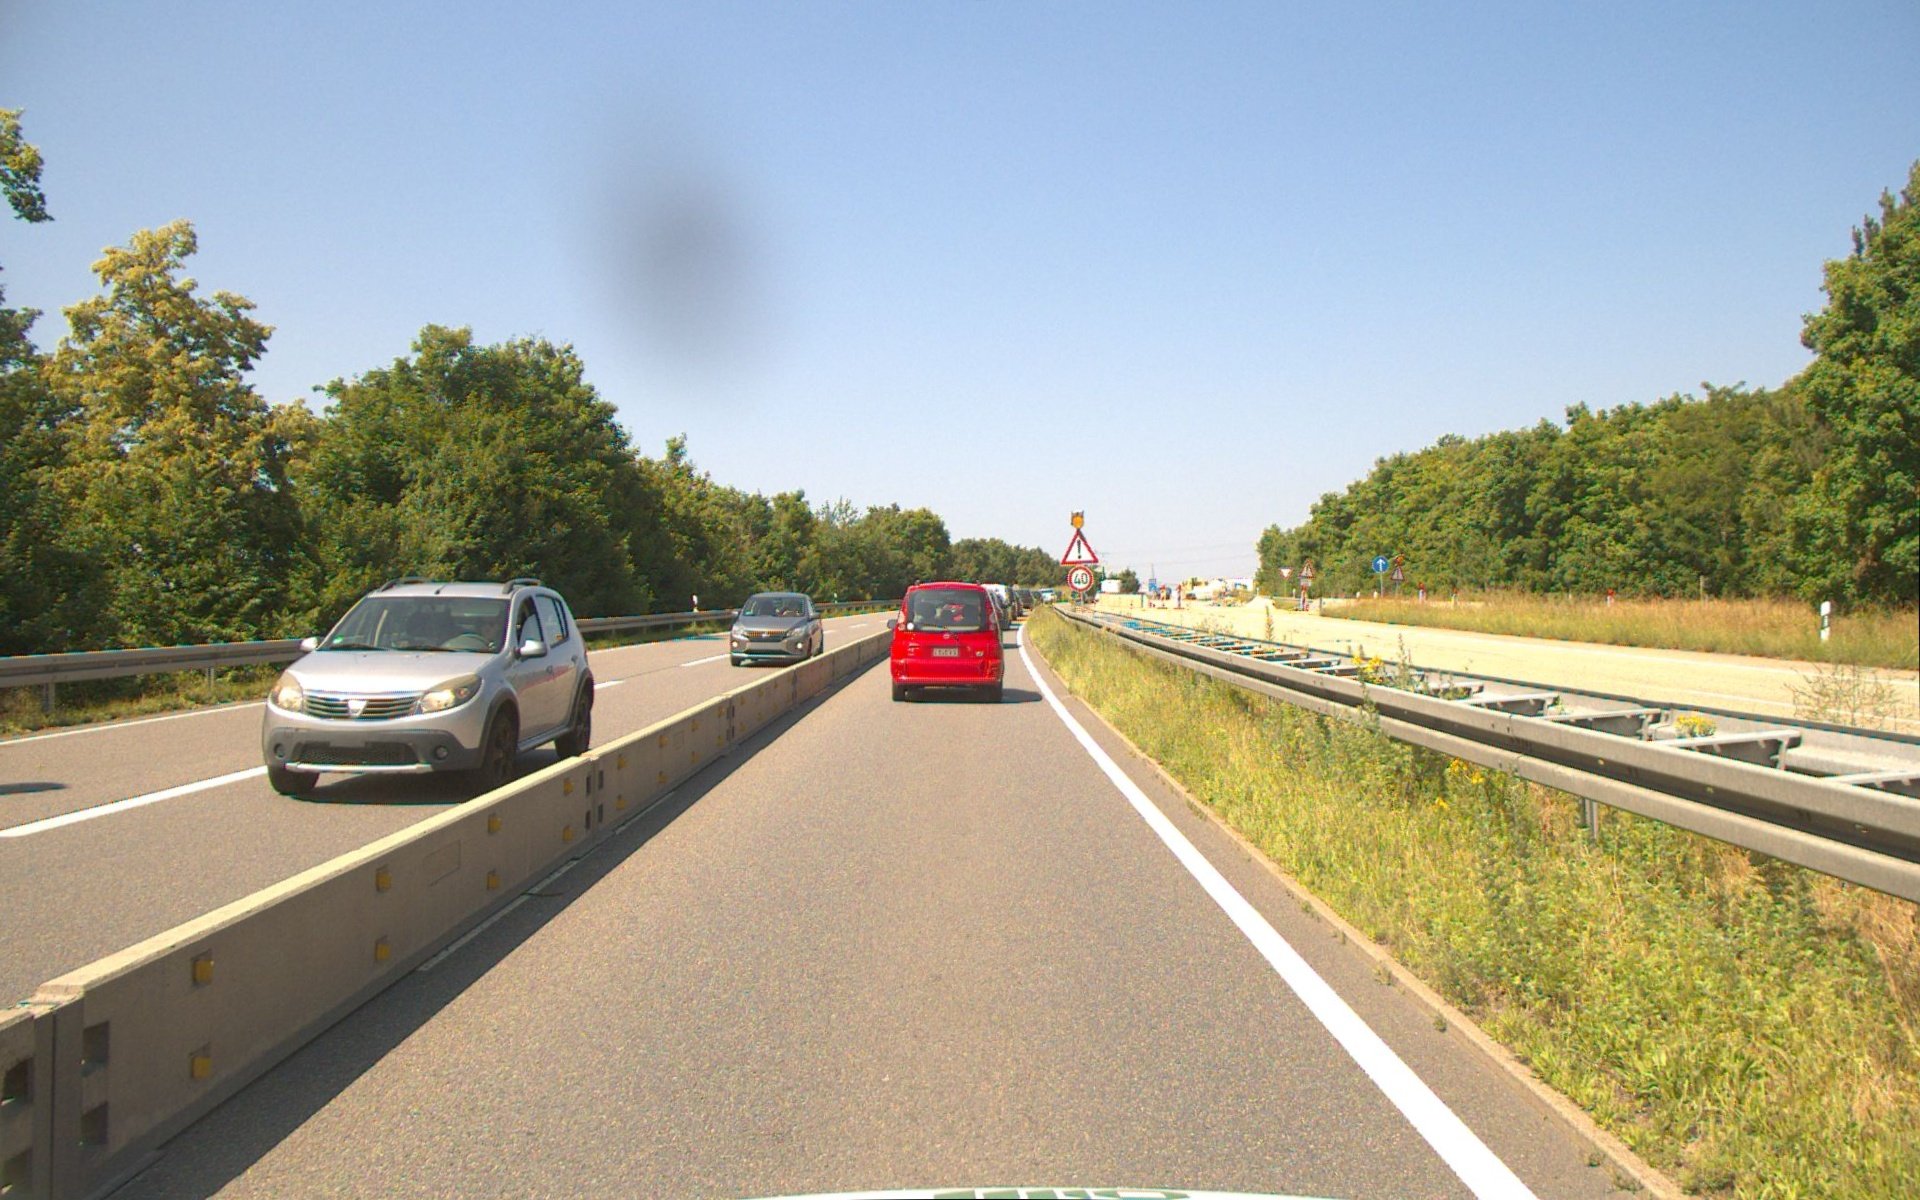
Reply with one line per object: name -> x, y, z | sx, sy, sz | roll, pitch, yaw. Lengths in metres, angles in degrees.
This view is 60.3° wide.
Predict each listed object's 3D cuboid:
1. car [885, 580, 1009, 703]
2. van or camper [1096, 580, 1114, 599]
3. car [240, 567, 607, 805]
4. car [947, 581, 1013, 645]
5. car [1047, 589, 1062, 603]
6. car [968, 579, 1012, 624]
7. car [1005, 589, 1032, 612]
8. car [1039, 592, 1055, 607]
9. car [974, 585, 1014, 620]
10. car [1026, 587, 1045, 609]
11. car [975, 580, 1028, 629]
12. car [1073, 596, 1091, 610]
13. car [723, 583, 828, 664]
car -> -0.237, 0.565, 24.903 | 1.716, 1.702, 3.999 | 0, 0, -2
van or camper -> 20.751, -1.485, 237.015 | 2.280, 2.754, 4.593 | -1, 0, 1
car -> -4.176, 0.607, 13.523 | 1.791, 1.658, 3.784 | 0, 0, 0
car -> 0.584, 0.358, 47.539 | 1.792, 1.752, 4.001 | -1, 0, 1
car -> 9.565, -0.418, 167.061 | 1.470, 1.476, 3.172 | 0, 0, 5
car -> 1.380, 0.065, 76.725 | 1.953, 2.038, 4.000 | 1, 0, 0
car -> 4.297, 0.023, 121.233 | 1.952, 1.613, 4.001 | 0, 0, 3
car -> 7.967, -0.022, 151.493 | 1.391, 1.321, 2.881 | -1, 0, 5
car -> 1.789, 0.122, 88.008 | 1.953, 1.780, 3.999 | 0, 0, -1
car -> 6.233, -0.131, 136.351 | 1.470, 1.767, 3.171 | 1, 0, 3
car -> 1.623, 0.158, 66.351 | 1.953, 1.870, 3.999 | -1, 0, -1
car -> 14.089, 0.298, 191.255 | 1.952, 1.579, 4.001 | 0, 0, 3
car -> -3.871, 0.473, 35.367 | 1.909, 1.606, 4.433 | 0, 0, -2
